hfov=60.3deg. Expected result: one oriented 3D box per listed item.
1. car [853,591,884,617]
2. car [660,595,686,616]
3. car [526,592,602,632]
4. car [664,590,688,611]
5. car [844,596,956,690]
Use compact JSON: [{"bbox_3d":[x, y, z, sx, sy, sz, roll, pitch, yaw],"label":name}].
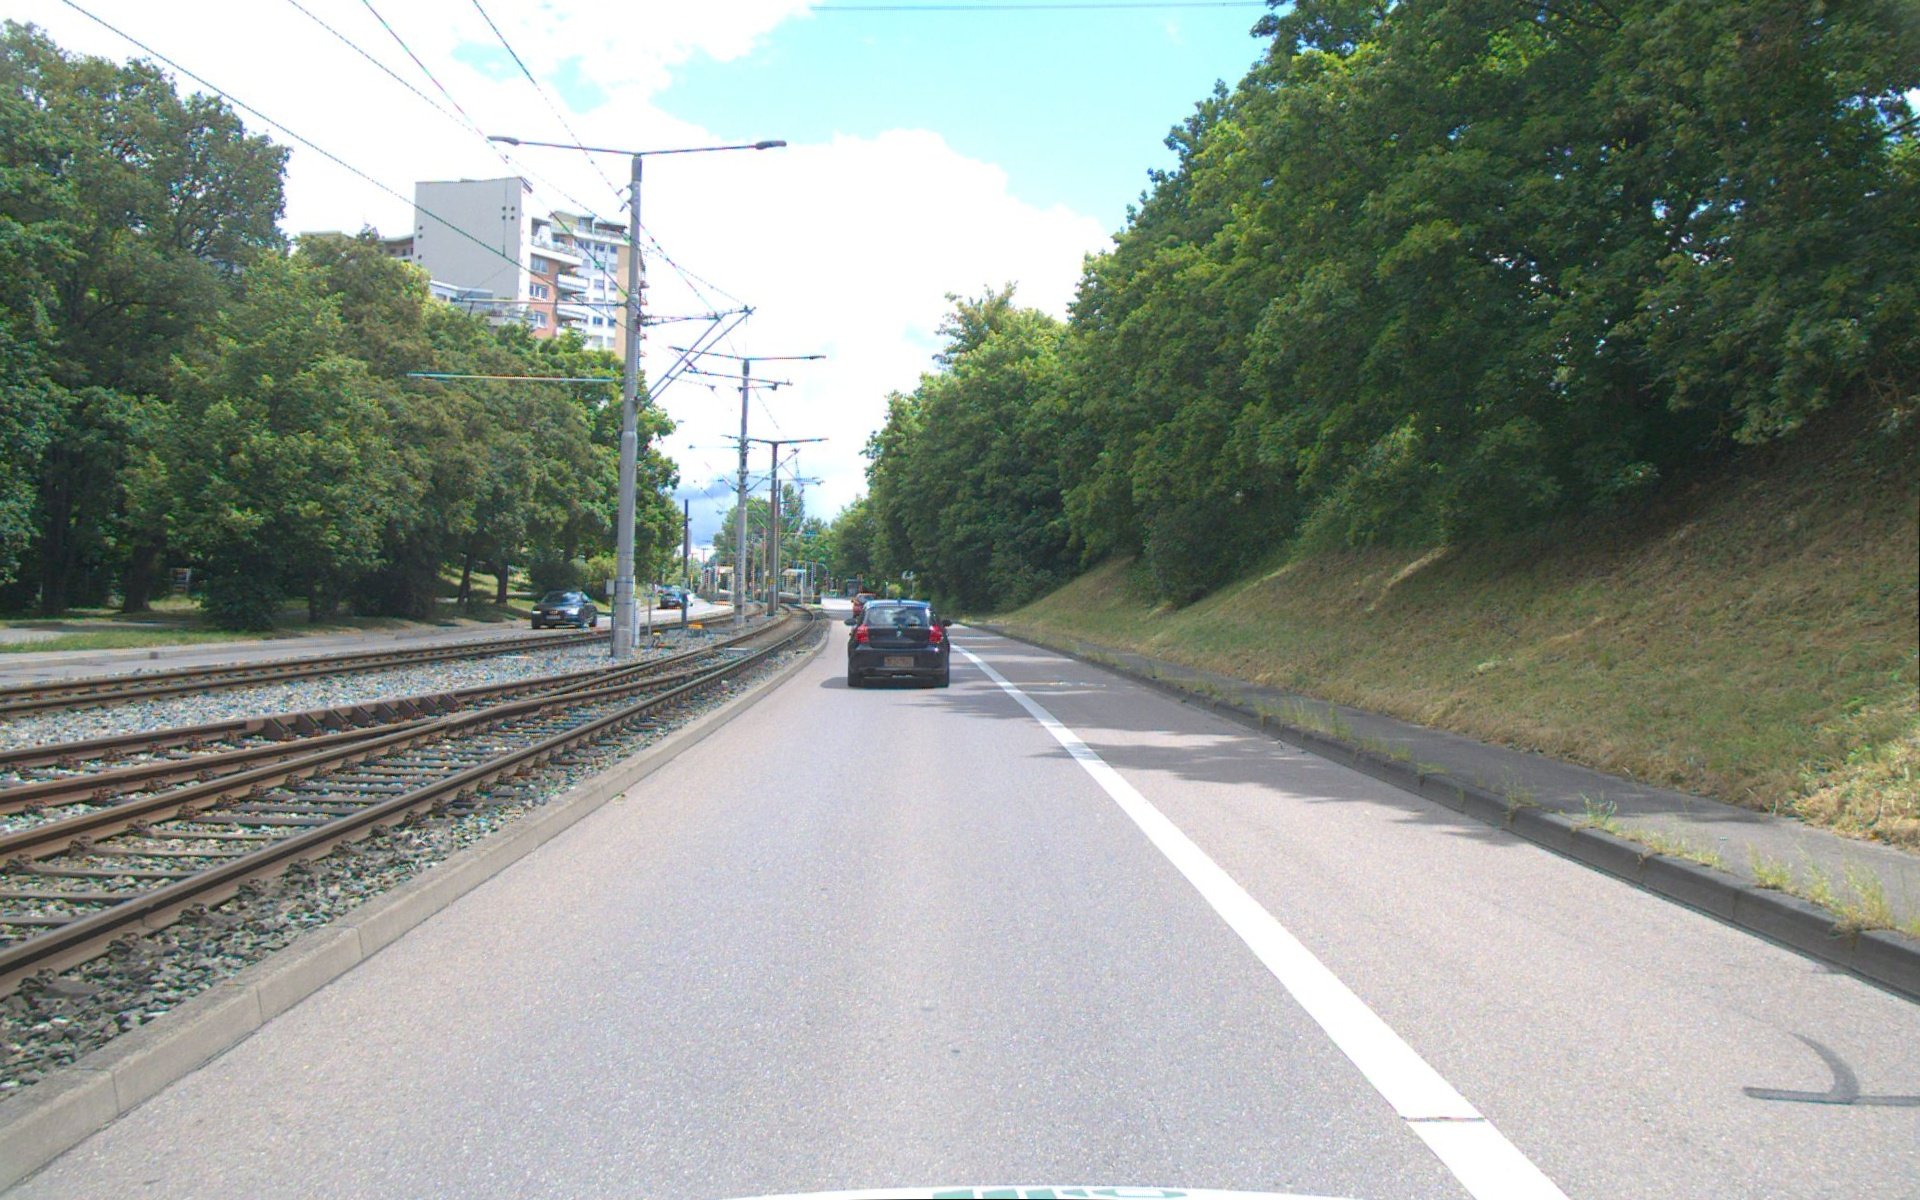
[{"bbox_3d":[-5.497,0.255,98.983,1.746,1.485,3.917,1,0,-5],"label":"car"},{"bbox_3d":[-22.025,0.432,126.857,1.741,1.525,3.991,1,0,-7],"label":"car"},{"bbox_3d":[-14.977,0.429,62.751,1.798,1.415,4.860,-1,0,-1],"label":"car"},{"bbox_3d":[-22.893,0.065,133.476,1.741,1.658,4.375,0,-1,-7],"label":"car"},{"bbox_3d":[-1.088,0.677,28.264,1.746,1.485,3.917,0,0,-4],"label":"car"}]
